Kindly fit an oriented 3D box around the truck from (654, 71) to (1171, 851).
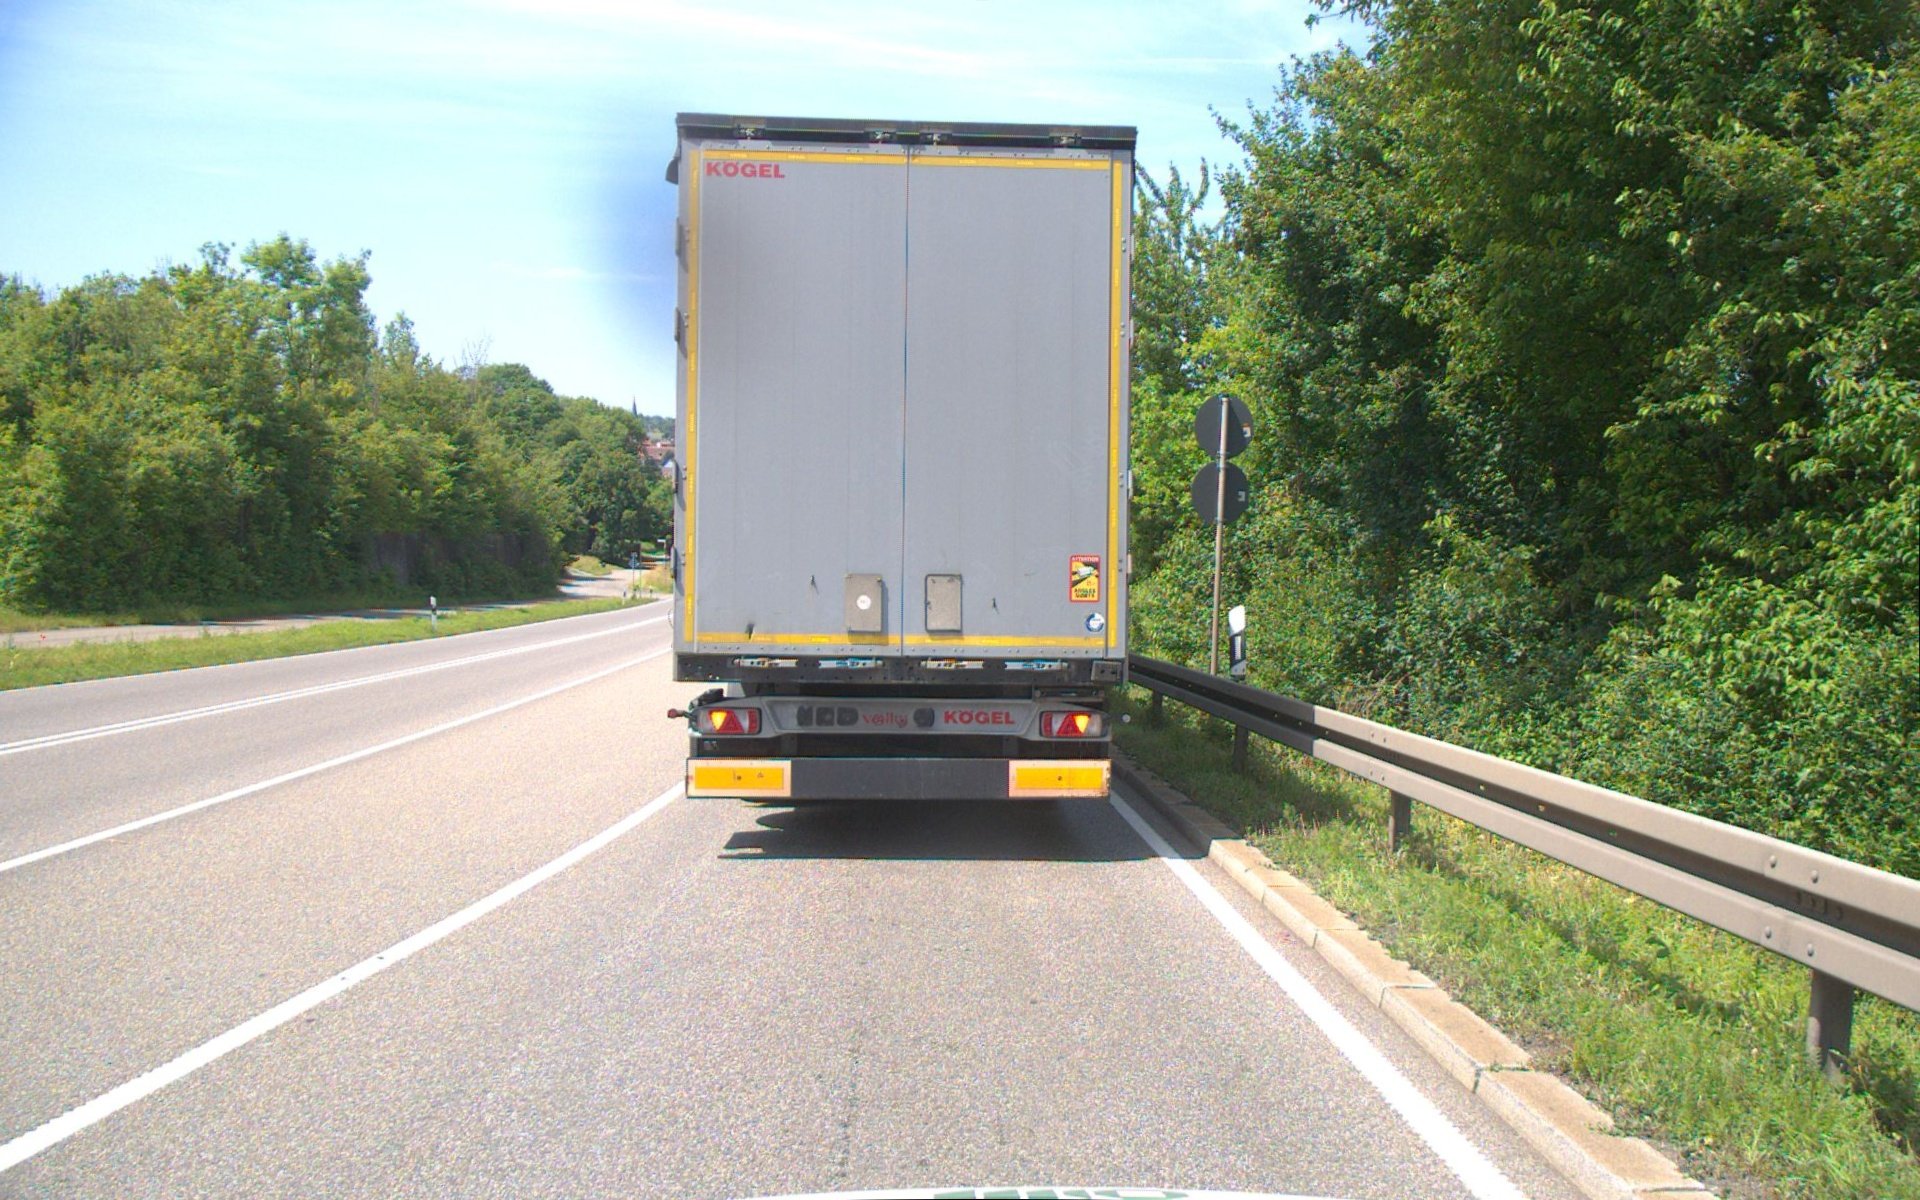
[{"bbox_3d":[-0.410,-0.779,14.731,2.701,4.100,11.920,1,0,-2],"label":"truck"}]
